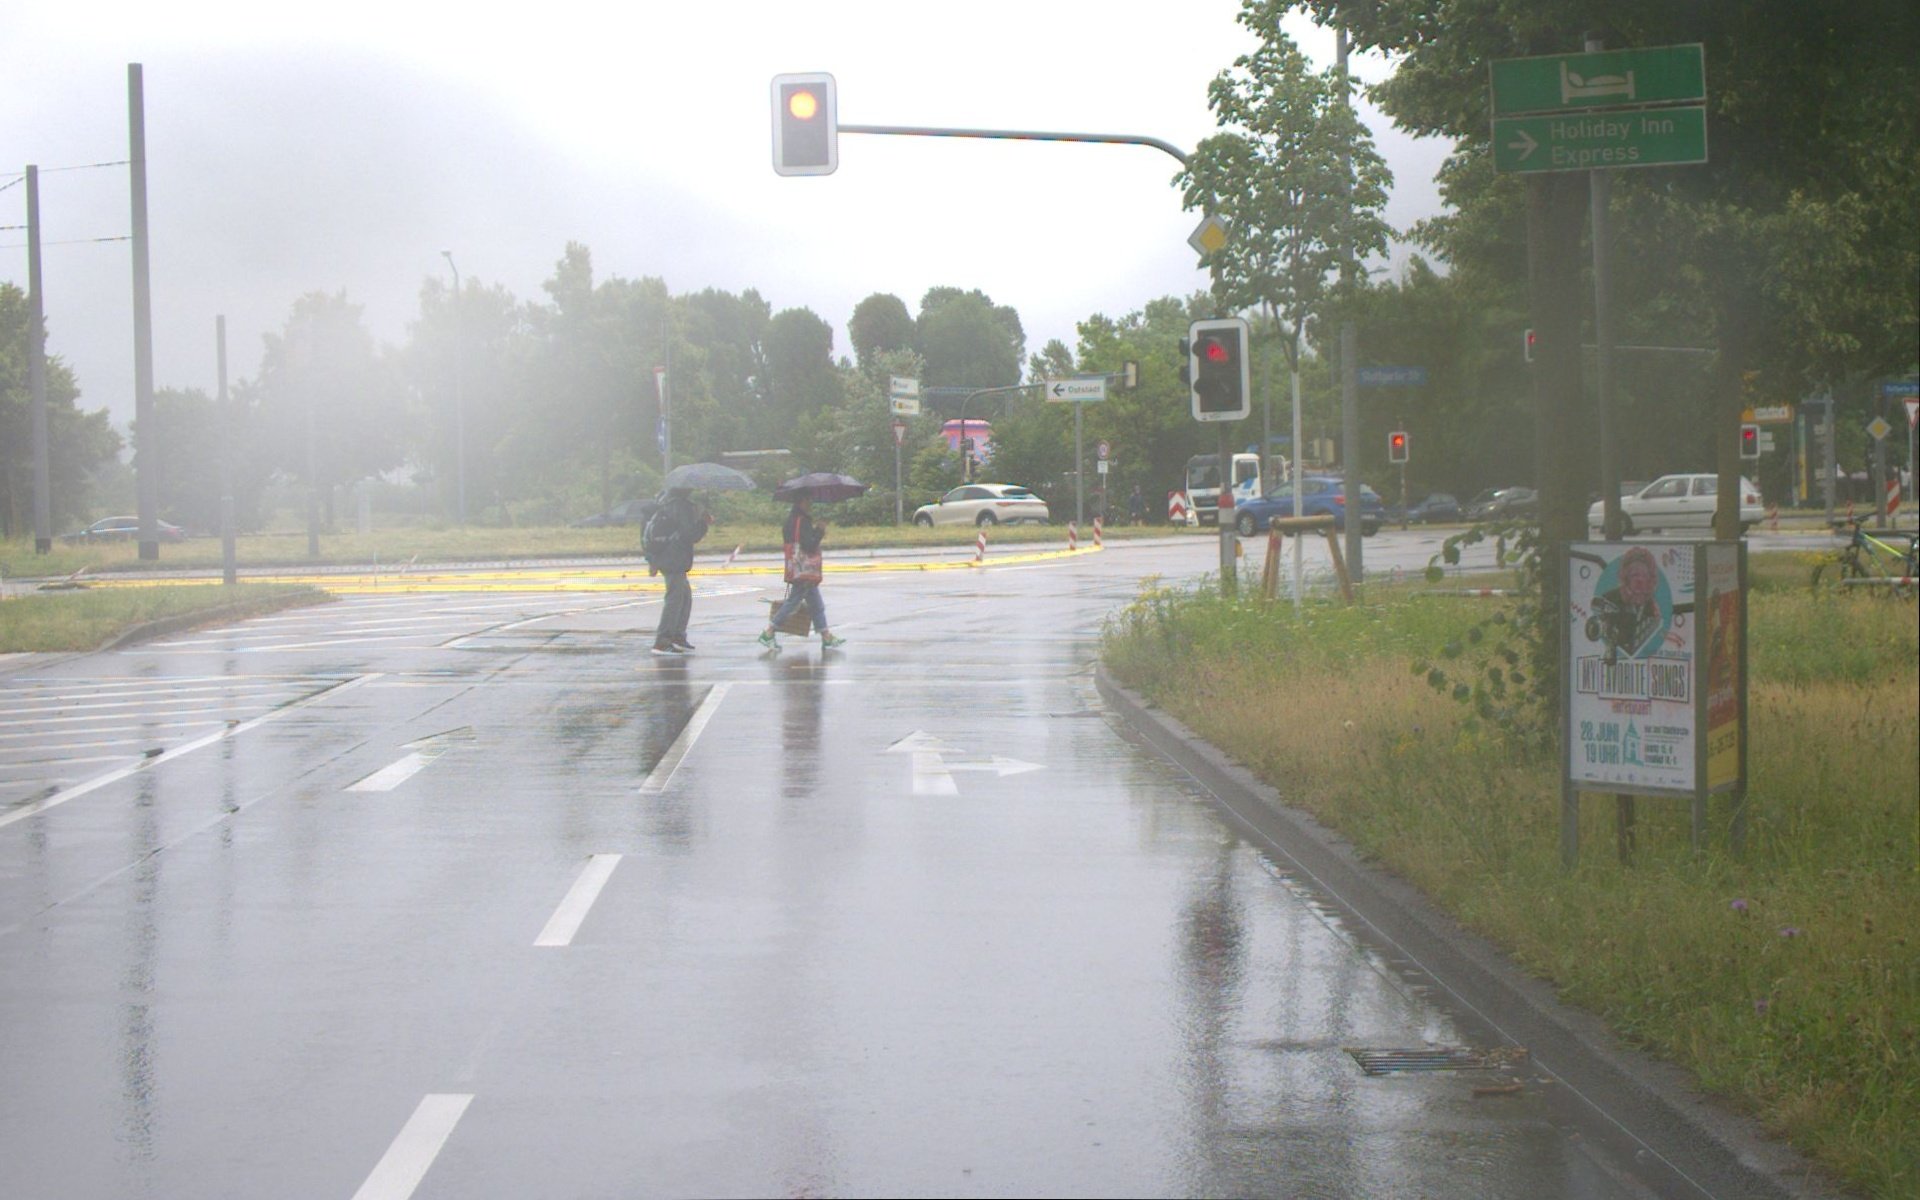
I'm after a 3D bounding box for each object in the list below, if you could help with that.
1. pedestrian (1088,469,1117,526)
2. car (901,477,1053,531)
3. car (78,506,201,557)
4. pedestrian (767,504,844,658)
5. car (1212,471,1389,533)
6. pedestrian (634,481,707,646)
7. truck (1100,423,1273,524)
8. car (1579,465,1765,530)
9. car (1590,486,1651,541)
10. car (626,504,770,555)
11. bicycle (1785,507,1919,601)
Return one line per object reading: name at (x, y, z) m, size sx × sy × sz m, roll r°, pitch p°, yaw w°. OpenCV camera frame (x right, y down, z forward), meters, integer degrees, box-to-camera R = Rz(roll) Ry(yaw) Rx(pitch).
pedestrian at (3.305, -2.367, 79.554) m, size 0.453 × 1.300 × 0.485 m, roll 1°, pitch 2°, yaw 38°
car at (0.455, -2.648, 94.877) m, size 4.109 × 1.449 × 1.620 m, roll 1°, pitch 3°, yaw 42°
car at (-25.762, -2.150, 107.973) m, size 3.471 × 1.537 × 1.622 m, roll 1°, pitch 1°, yaw -1°
pedestrian at (-1.496, -0.189, 33.238) m, size 0.680 × 1.456 × 0.573 m, roll -2°, pitch 1°, yaw -5°
car at (8.251, -2.369, 83.477) m, size 3.983 × 1.449 × 1.620 m, roll 1°, pitch 2°, yaw 36°
pedestrian at (-2.698, -0.352, 32.104) m, size 0.621 × 1.517 × 0.741 m, roll 1°, pitch 2°, yaw -2°
truck at (6.608, -3.599, 99.095) m, size 2.464 × 2.677 × 8.050 m, roll 2°, pitch 1°, yaw 22°
car at (16.502, -2.369, 79.651) m, size 3.979 × 1.449 × 1.622 m, roll 0°, pitch 2°, yaw 22°
car at (18.538, -2.438, 96.385) m, size 1.619 × 1.449 × 3.986 m, roll 0°, pitch 2°, yaw 12°
car at (-7.815, -2.106, 102.568) m, size 3.978 × 1.449 × 1.622 m, roll 0°, pitch 2°, yaw 20°
bicycle at (7.952, -0.401, 29.603) m, size 0.379 × 0.784 × 1.859 m, roll 1°, pitch 1°, yaw -34°
